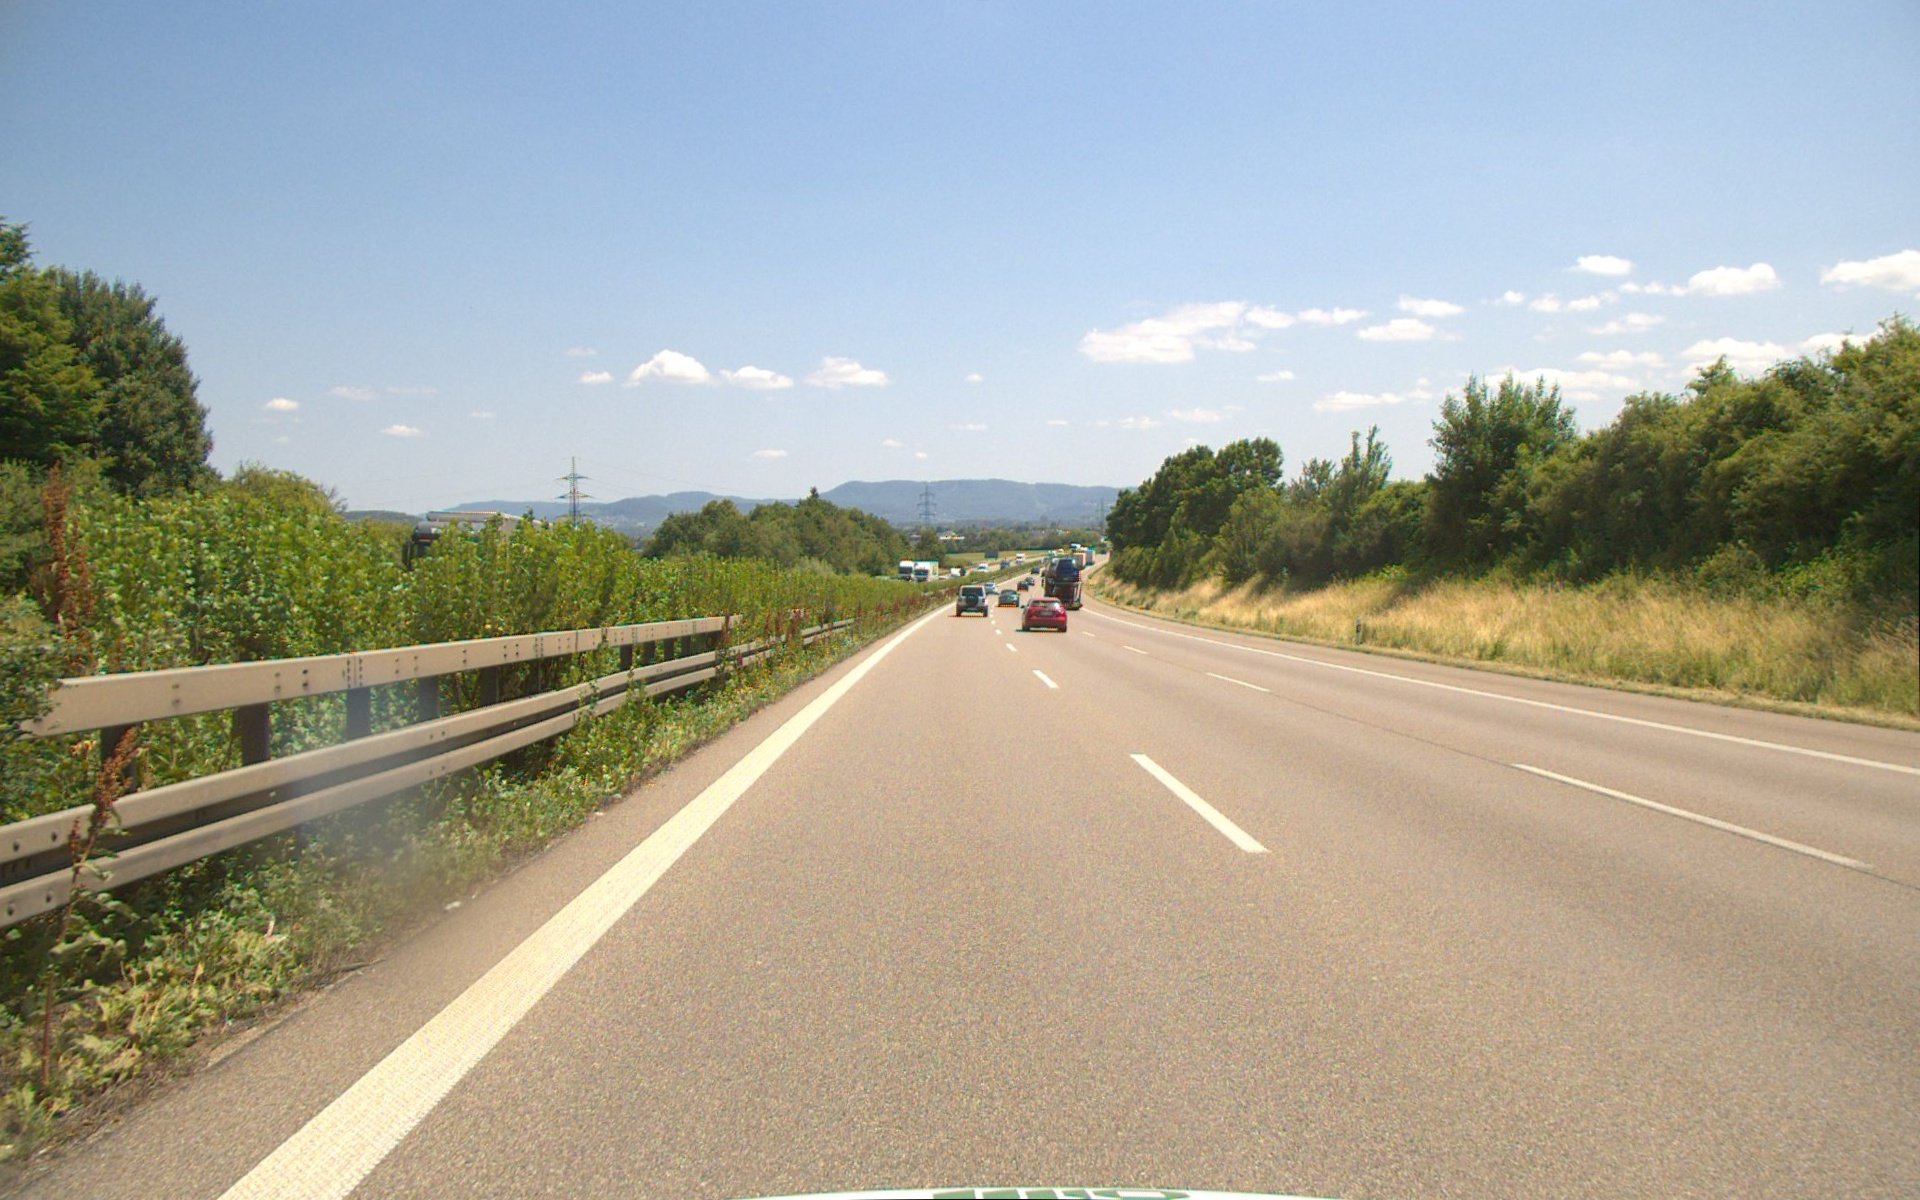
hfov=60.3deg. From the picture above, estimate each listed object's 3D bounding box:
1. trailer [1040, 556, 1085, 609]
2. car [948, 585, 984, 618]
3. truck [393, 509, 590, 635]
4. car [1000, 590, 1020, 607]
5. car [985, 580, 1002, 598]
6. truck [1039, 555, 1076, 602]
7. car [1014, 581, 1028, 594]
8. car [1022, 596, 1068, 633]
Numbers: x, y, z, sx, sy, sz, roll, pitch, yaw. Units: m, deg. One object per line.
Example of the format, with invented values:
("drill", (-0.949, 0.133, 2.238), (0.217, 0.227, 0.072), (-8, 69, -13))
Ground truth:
("trailer", (8.305, -1.508, 135.317), (2.796, 4.062, 15.399), (1, 1, 0))
("car", (0.336, 0.070, 100.190), (2.041, 1.861, 4.753), (1, 1, -1))
("truck", (-17.238, -0.955, 62.627), (2.915, 4.084, 16.824), (1, 0, -1))
("car", (4.156, -0.152, 138.119), (1.423, 1.289, 3.538), (1, 1, -1))
("car", (4.153, -1.370, 205.651), (1.662, 2.048, 3.825), (1, 1, 7))
("truck", (8.387, -1.877, 143.003), (2.697, 3.919, 6.644), (1, 1, 0))
("car", (8.581, -1.788, 233.502), (1.601, 1.734, 3.404), (1, 1, 7))
("car", (3.550, 0.574, 69.522), (1.652, 1.403, 3.948), (1, 1, -1))
